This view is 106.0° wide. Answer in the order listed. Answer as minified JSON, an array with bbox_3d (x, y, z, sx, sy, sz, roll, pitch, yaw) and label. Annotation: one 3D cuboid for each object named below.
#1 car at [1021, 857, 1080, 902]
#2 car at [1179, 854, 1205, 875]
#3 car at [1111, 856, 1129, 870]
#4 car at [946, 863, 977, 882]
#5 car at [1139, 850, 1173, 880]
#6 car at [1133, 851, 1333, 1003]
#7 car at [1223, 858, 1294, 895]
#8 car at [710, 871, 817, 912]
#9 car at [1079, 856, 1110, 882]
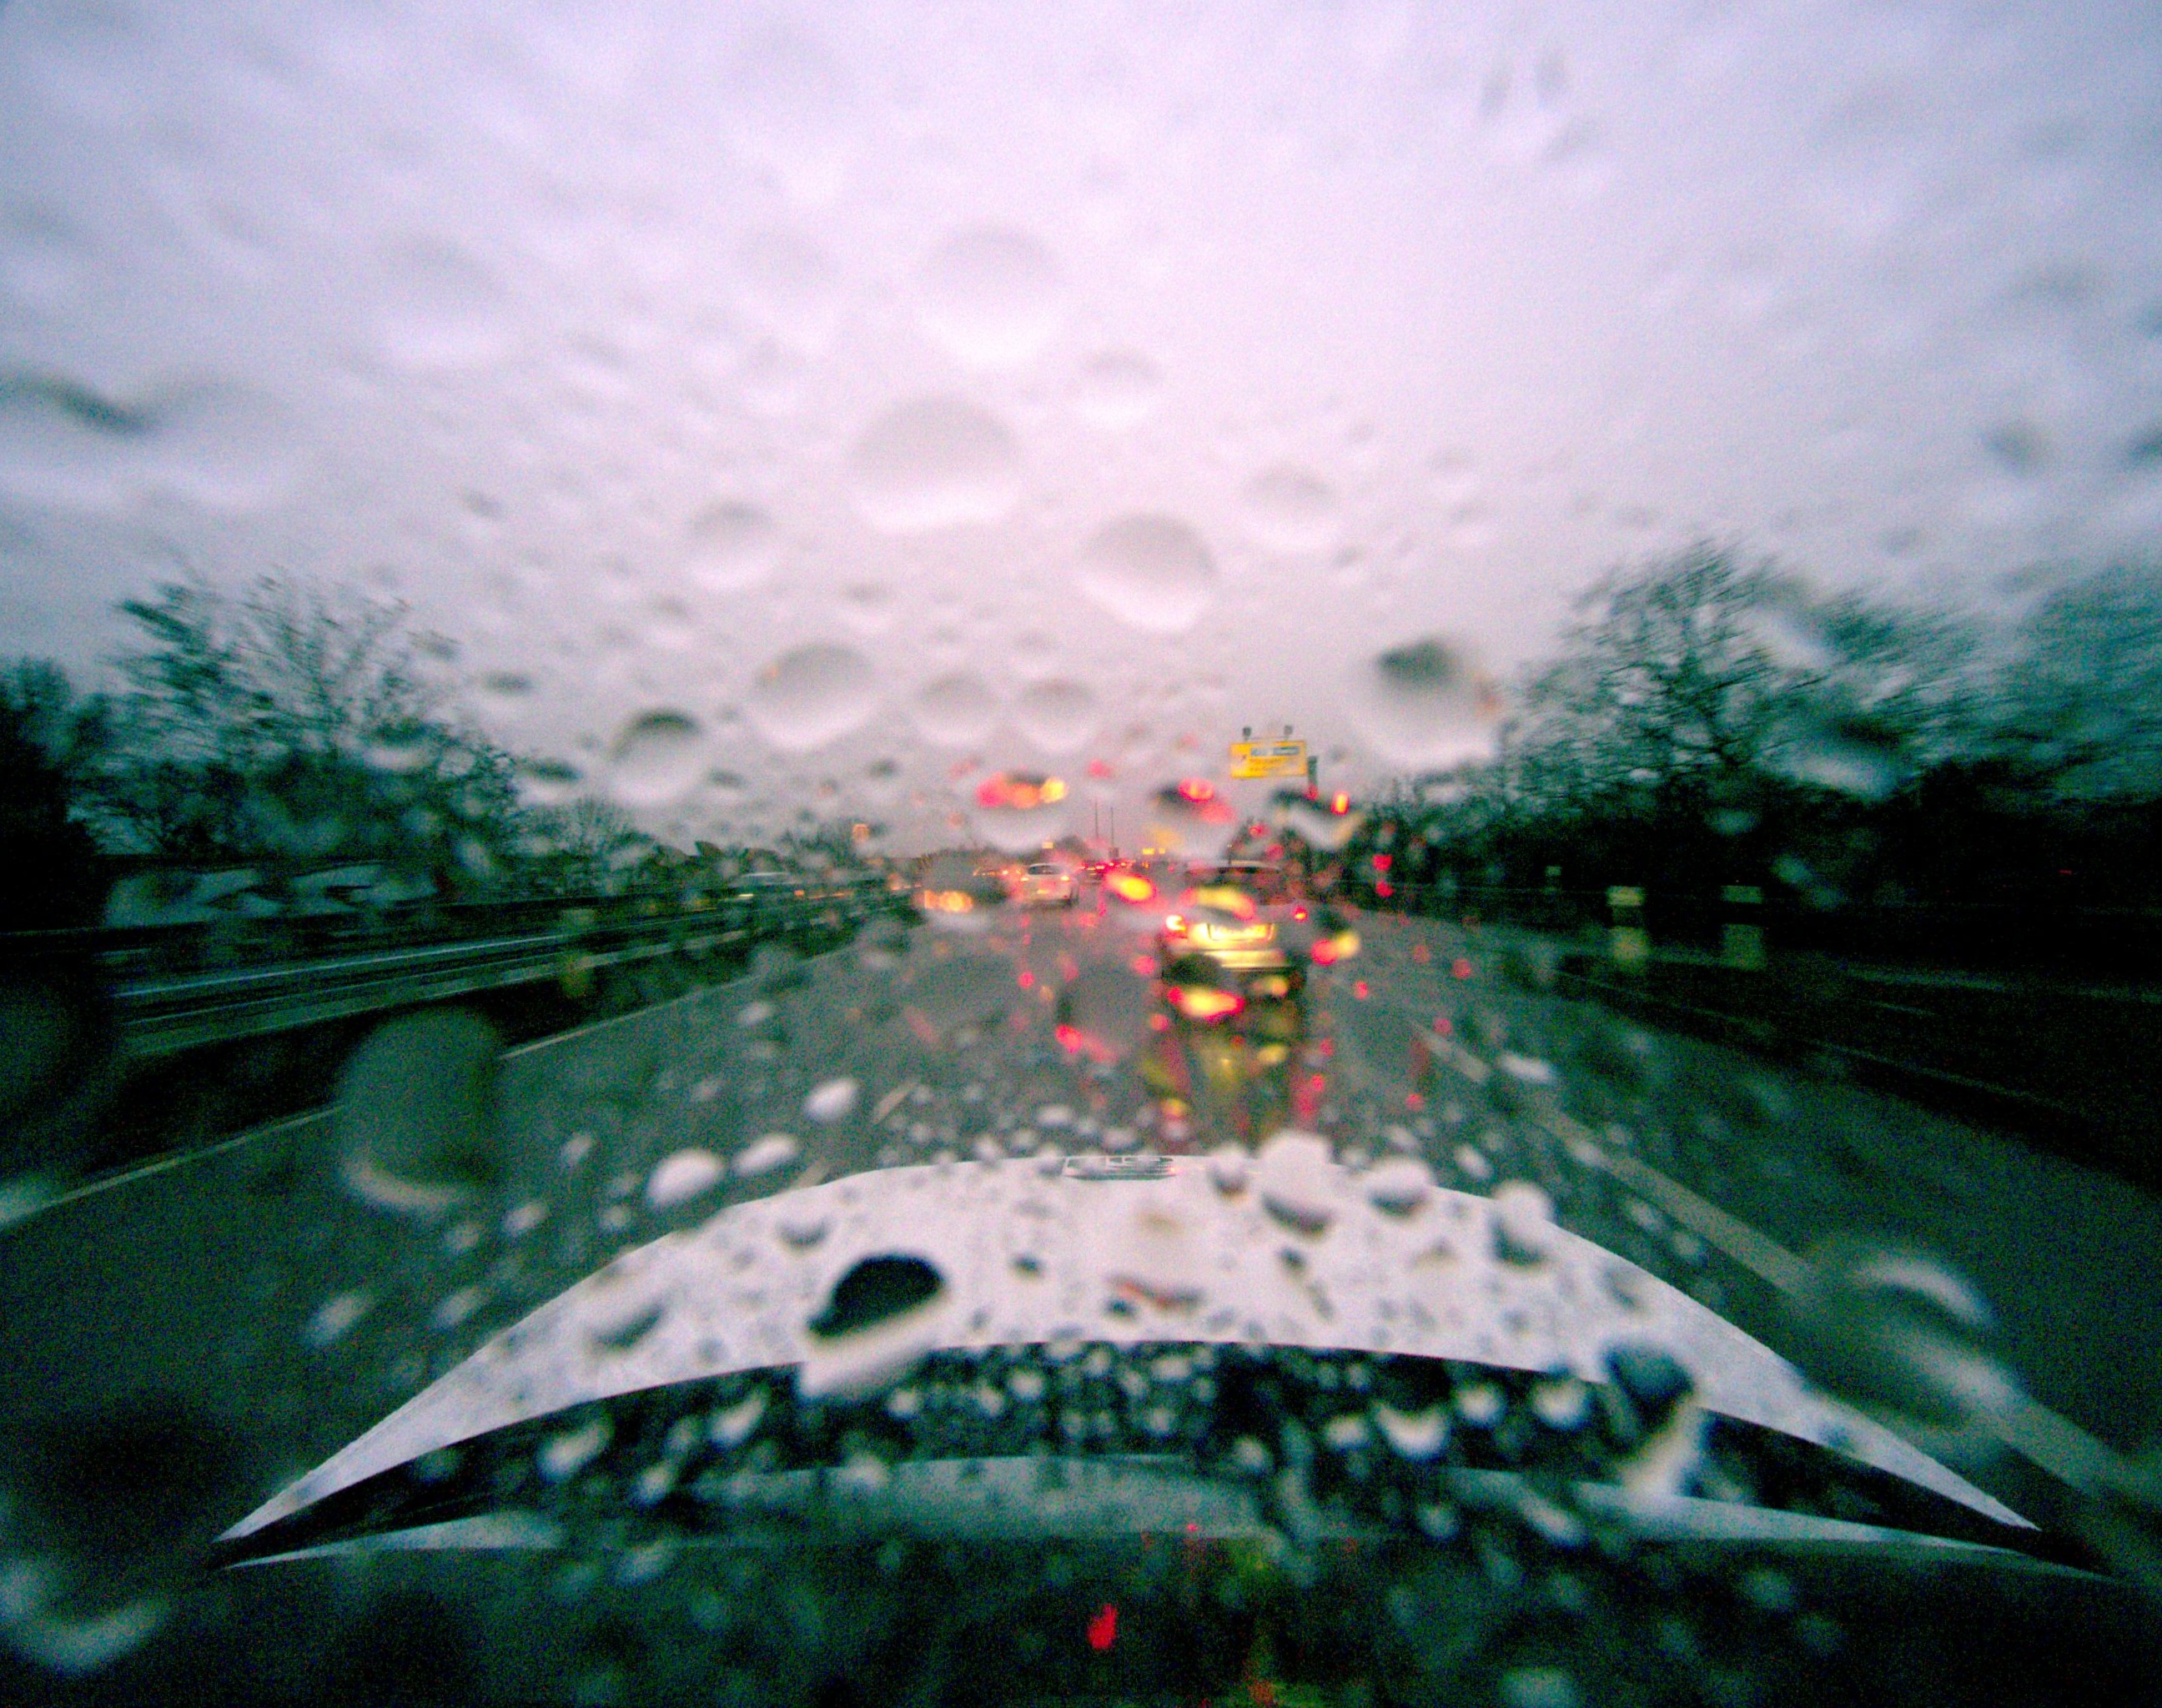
[{"bbox_3d":[-1.020,0.857,28.886,1.717,1.440,4.228,-1,0,2],"label":"car"},{"bbox_3d":[8.642,0.805,63.501,1.780,1.545,4.006,-2,0,6],"label":"car"},{"bbox_3d":[4.294,0.965,89.188,1.781,1.545,4.004,-1,0,4],"label":"car"},{"bbox_3d":[-10.467,1.580,71.745,1.779,1.564,4.854,-2,0,2],"label":"car"},{"bbox_3d":[4.576,0.656,50.040,1.889,1.767,4.312,-1,0,3],"label":"car"},{"bbox_3d":[1.733,0.771,10.446,1.984,1.500,4.143,-2,-1,5],"label":"car"},{"bbox_3d":[7.189,0.884,33.383,1.987,1.346,3.999,-2,0,0],"label":"car"},{"bbox_3d":[-13.622,1.581,35.272,1.826,1.562,4.701,-1,0,15],"label":"car"},{"bbox_3d":[0.842,0.949,53.532,1.987,1.601,4.307,0,0,0],"label":"car"}]
